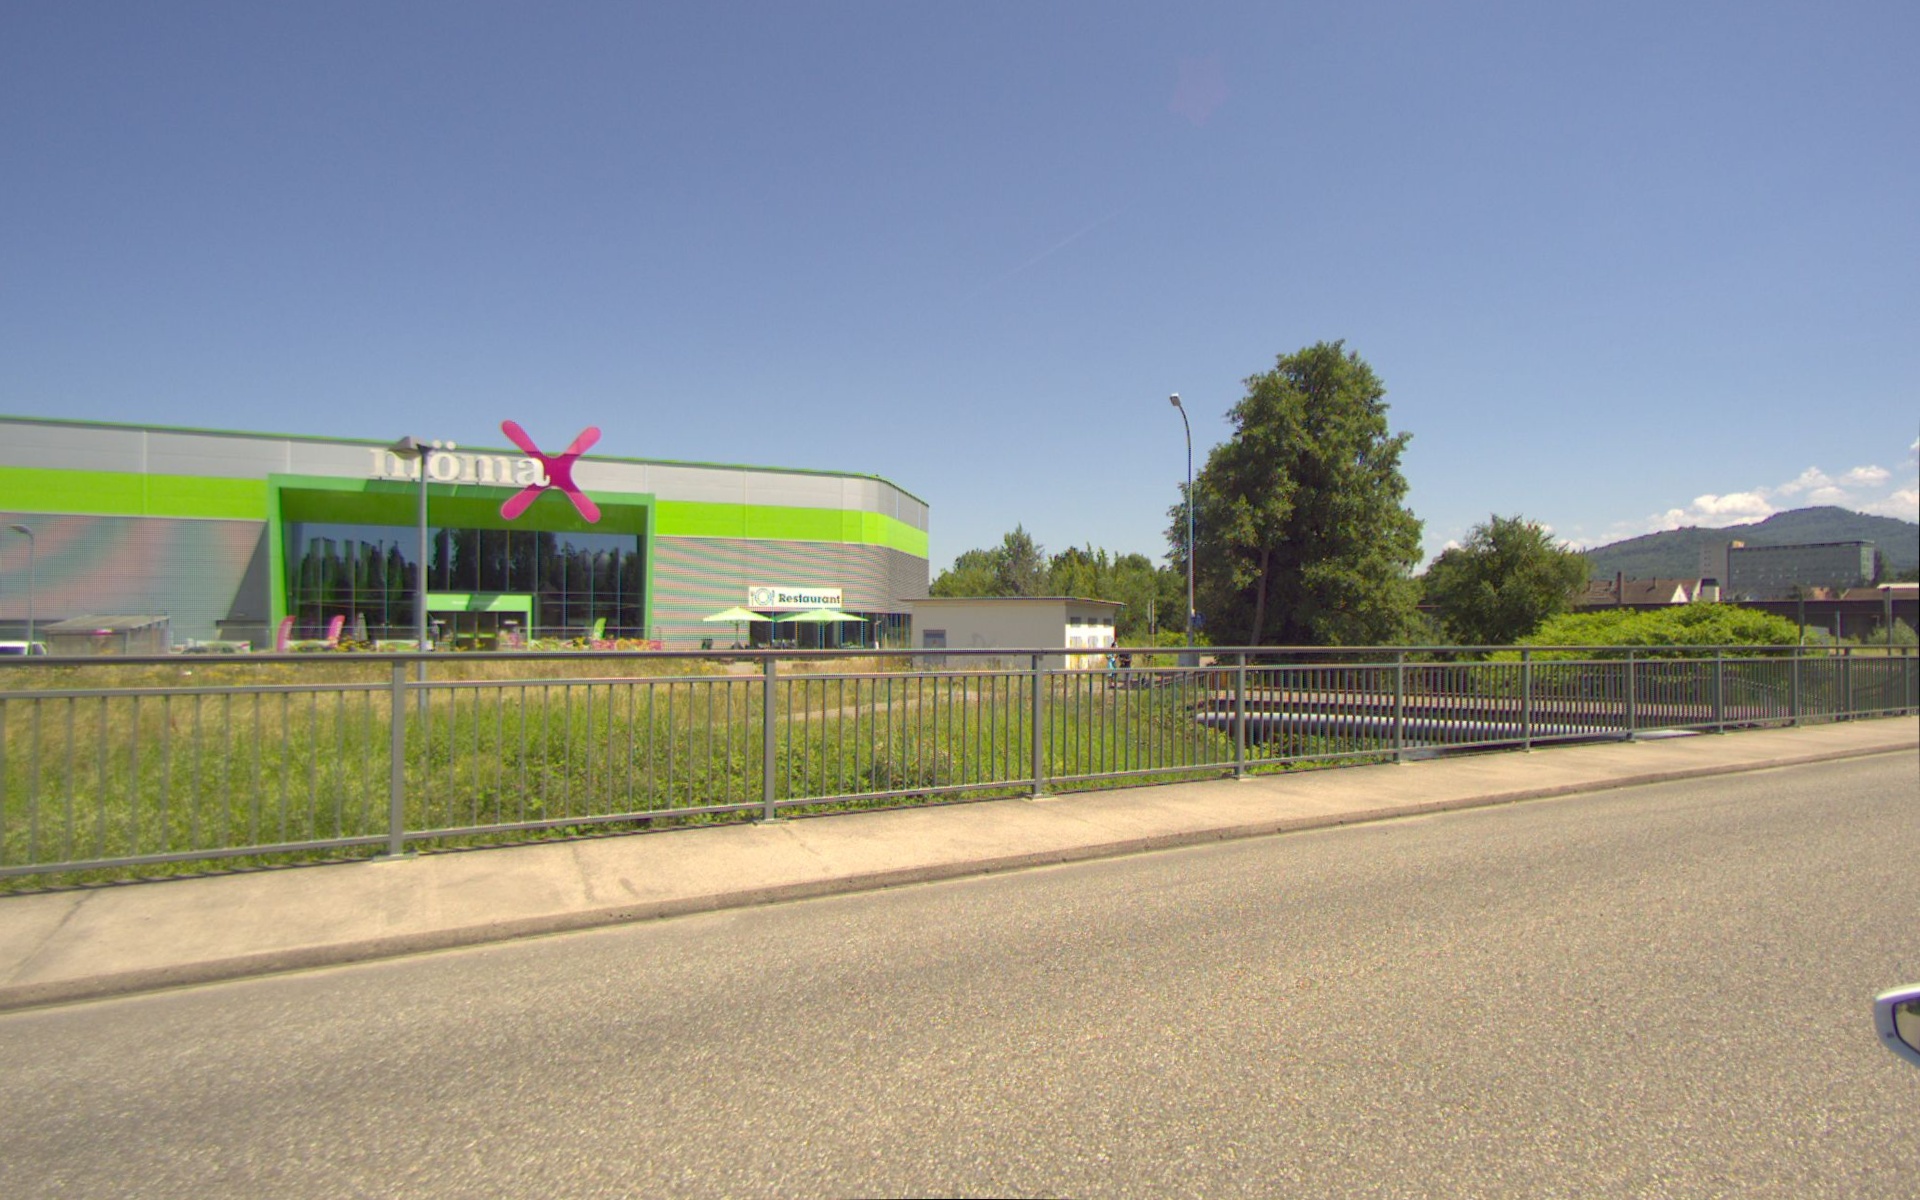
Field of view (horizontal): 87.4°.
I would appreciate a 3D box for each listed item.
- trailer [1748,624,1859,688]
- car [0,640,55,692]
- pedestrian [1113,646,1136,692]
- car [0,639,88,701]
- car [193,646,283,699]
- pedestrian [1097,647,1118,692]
[{"bbox_3d":[29.219,1.902,34.938,1.820,2.040,3.958,1,-1,23],"label":"trailer"},{"bbox_3d":[-33.192,2.258,34.573,1.973,1.533,3.973,0,1,-26],"label":"car"},{"bbox_3d":[6.328,2.636,38.626,0.619,1.696,0.595,2,0,39],"label":"pedestrian"},{"bbox_3d":[-27.810,2.033,29.760,1.973,1.533,3.973,0,1,-26],"label":"car"},{"bbox_3d":[-25.851,2.532,36.105,1.973,1.533,3.973,0,1,-26],"label":"car"},{"bbox_3d":[5.683,2.664,38.779,0.507,1.696,0.626,2,0,38],"label":"pedestrian"}]
